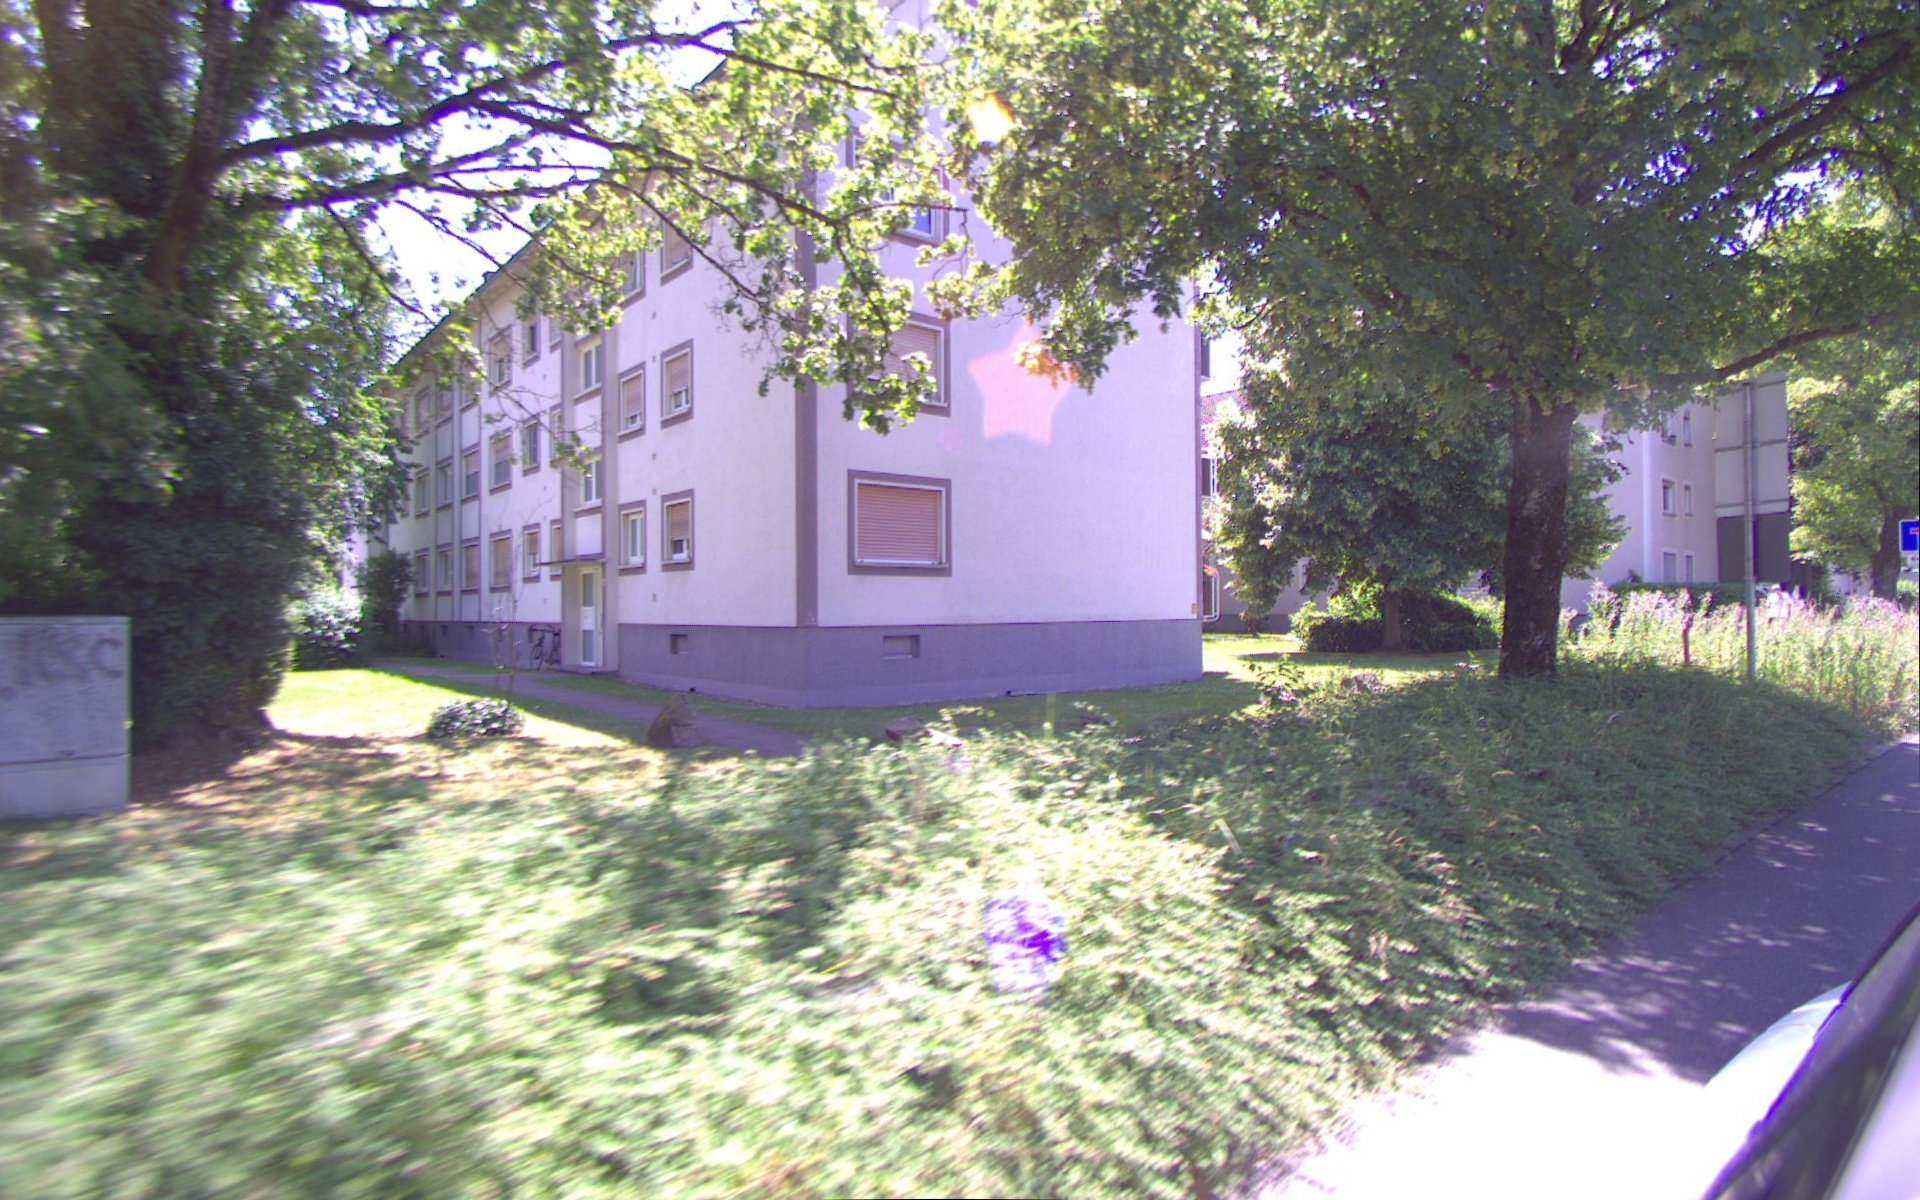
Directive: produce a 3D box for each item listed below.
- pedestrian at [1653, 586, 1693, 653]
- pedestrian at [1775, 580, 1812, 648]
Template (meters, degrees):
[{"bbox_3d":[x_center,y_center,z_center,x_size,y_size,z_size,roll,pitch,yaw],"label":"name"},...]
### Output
[{"bbox_3d":[18.035,0.480,25.591,0.718,1.654,0.838,0,0,44],"label":"pedestrian"},{"bbox_3d":[23.553,0.387,28.606,0.669,1.897,0.893,0,0,32],"label":"pedestrian"}]
